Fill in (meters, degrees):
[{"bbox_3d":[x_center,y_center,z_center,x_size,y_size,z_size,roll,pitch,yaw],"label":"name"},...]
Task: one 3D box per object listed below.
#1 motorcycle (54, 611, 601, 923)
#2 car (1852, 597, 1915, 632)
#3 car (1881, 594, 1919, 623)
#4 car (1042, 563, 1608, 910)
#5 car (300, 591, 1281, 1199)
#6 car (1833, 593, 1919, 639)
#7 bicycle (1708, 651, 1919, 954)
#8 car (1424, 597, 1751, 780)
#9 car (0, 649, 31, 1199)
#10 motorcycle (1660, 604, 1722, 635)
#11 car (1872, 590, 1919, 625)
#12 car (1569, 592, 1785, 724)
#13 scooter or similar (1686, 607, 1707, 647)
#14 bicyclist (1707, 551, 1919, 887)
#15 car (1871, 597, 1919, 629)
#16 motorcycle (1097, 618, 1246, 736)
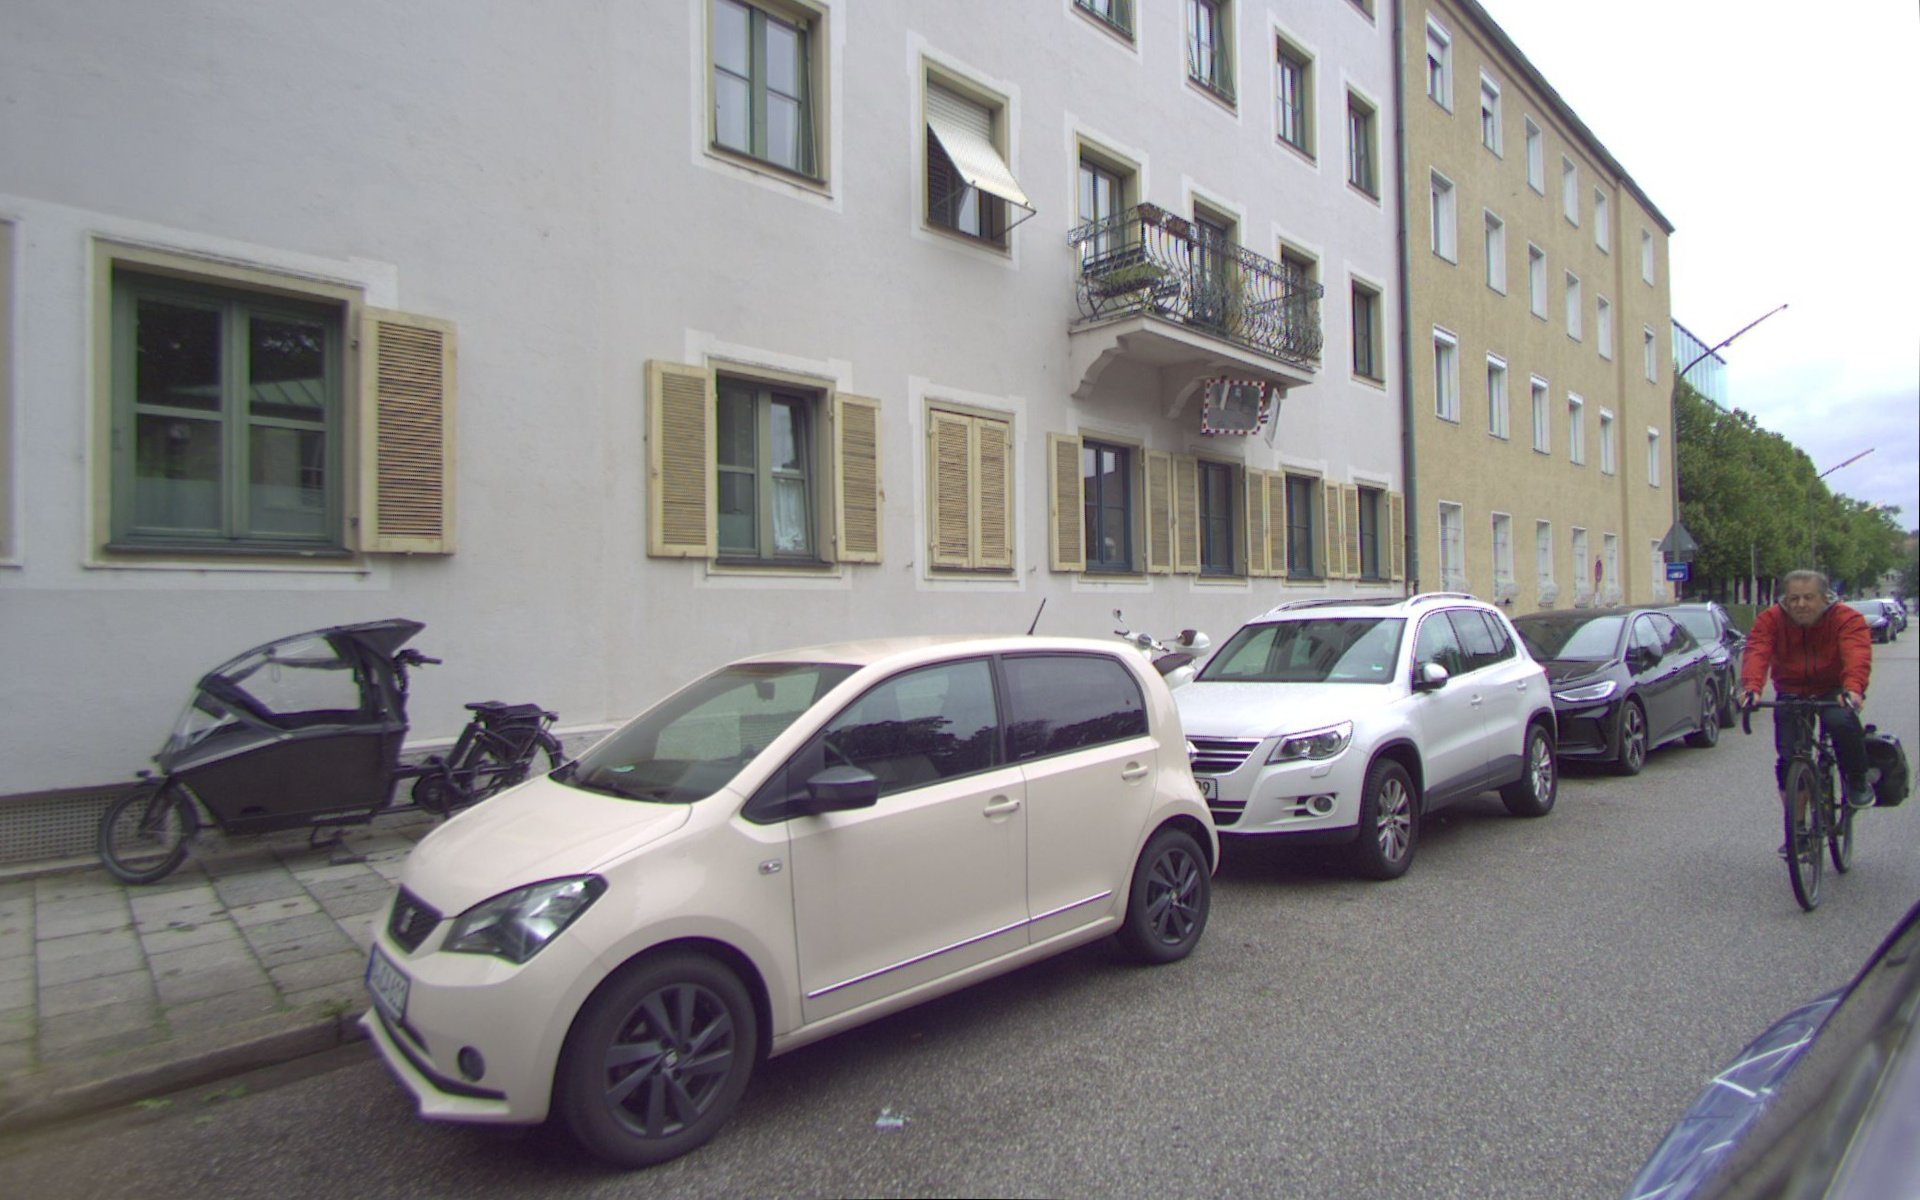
[{"bbox_3d":[-3.621,0.814,6.069,0.857,1.452,2.663,-2,-2,45],"label":"motorcycle"},{"bbox_3d":[42.640,0.638,46.701,1.992,1.479,4.879,-4,-3,43],"label":"car"},{"bbox_3d":[58.740,0.522,62.974,1.867,1.713,4.709,-4,-3,44],"label":"car"},{"bbox_3d":[2.861,0.731,7.346,4.458,1.729,1.995,0,-3,-43],"label":"car"},{"bbox_3d":[-0.487,0.838,4.273,3.647,1.567,1.772,0,-6,-41],"label":"car"},{"bbox_3d":[36.167,0.602,39.896,5.013,1.652,1.995,0,-3,-42],"label":"car"},{"bbox_3d":[4.412,0.881,5.089,1.978,1.156,0.672,-1,-3,-44],"label":"bicycle"},{"bbox_3d":[6.795,0.757,10.768,4.340,1.551,1.841,0,-1,-42],"label":"car"},{"bbox_3d":[-3.841,0.848,0.834,4.519,1.336,2.002,0,1,-44],"label":"car"},{"bbox_3d":[29.047,0.775,40.228,0.696,1.147,1.896,0,1,-42],"label":"motorcycle"},{"bbox_3d":[54.476,0.417,58.844,4.499,1.920,1.785,0,-3,-45],"label":"car"},{"bbox_3d":[10.492,0.699,14.647,1.860,1.597,4.822,-1,-1,44],"label":"car"},{"bbox_3d":[23.777,0.861,32.678,1.288,1.271,0.342,0,0,-45],"label":"scooter or similar"},{"bbox_3d":[4.394,0.545,5.124,0.965,1.502,0.755,0,-3,-44],"label":"bicyclist"},{"bbox_3d":[50.562,0.665,54.568,1.946,1.572,4.926,-4,-3,44],"label":"car"},{"bbox_3d":[2.561,0.873,12.115,1.975,1.255,0.732,-1,-3,-45],"label":"motorcycle"}]
